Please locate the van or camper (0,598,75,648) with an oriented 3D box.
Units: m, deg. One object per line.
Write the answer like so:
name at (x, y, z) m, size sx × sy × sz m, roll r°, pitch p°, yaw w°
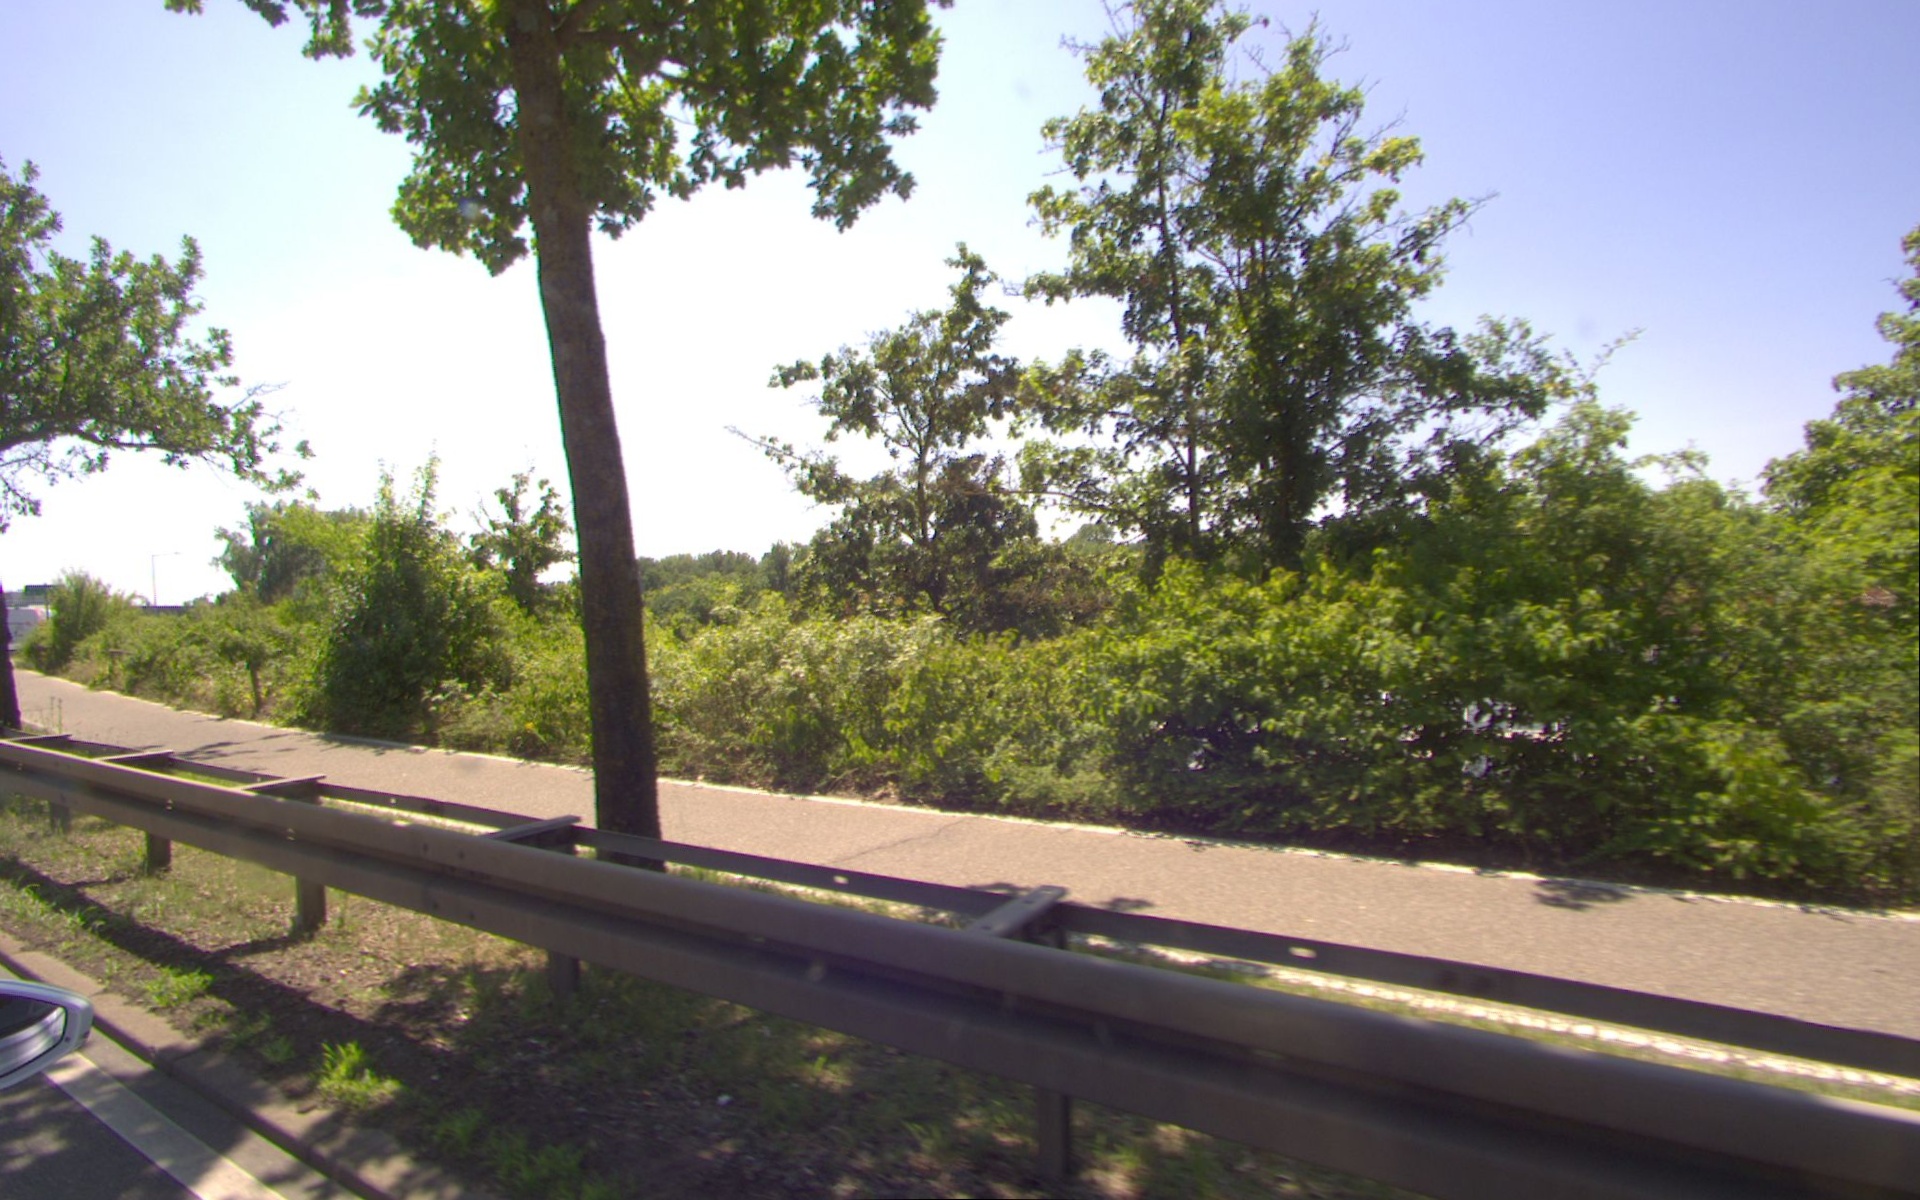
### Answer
van or camper at (-52.973, 1.304, 57.443) m, size 2.179 × 2.746 × 5.895 m, roll 0°, pitch -1°, yaw -30°
